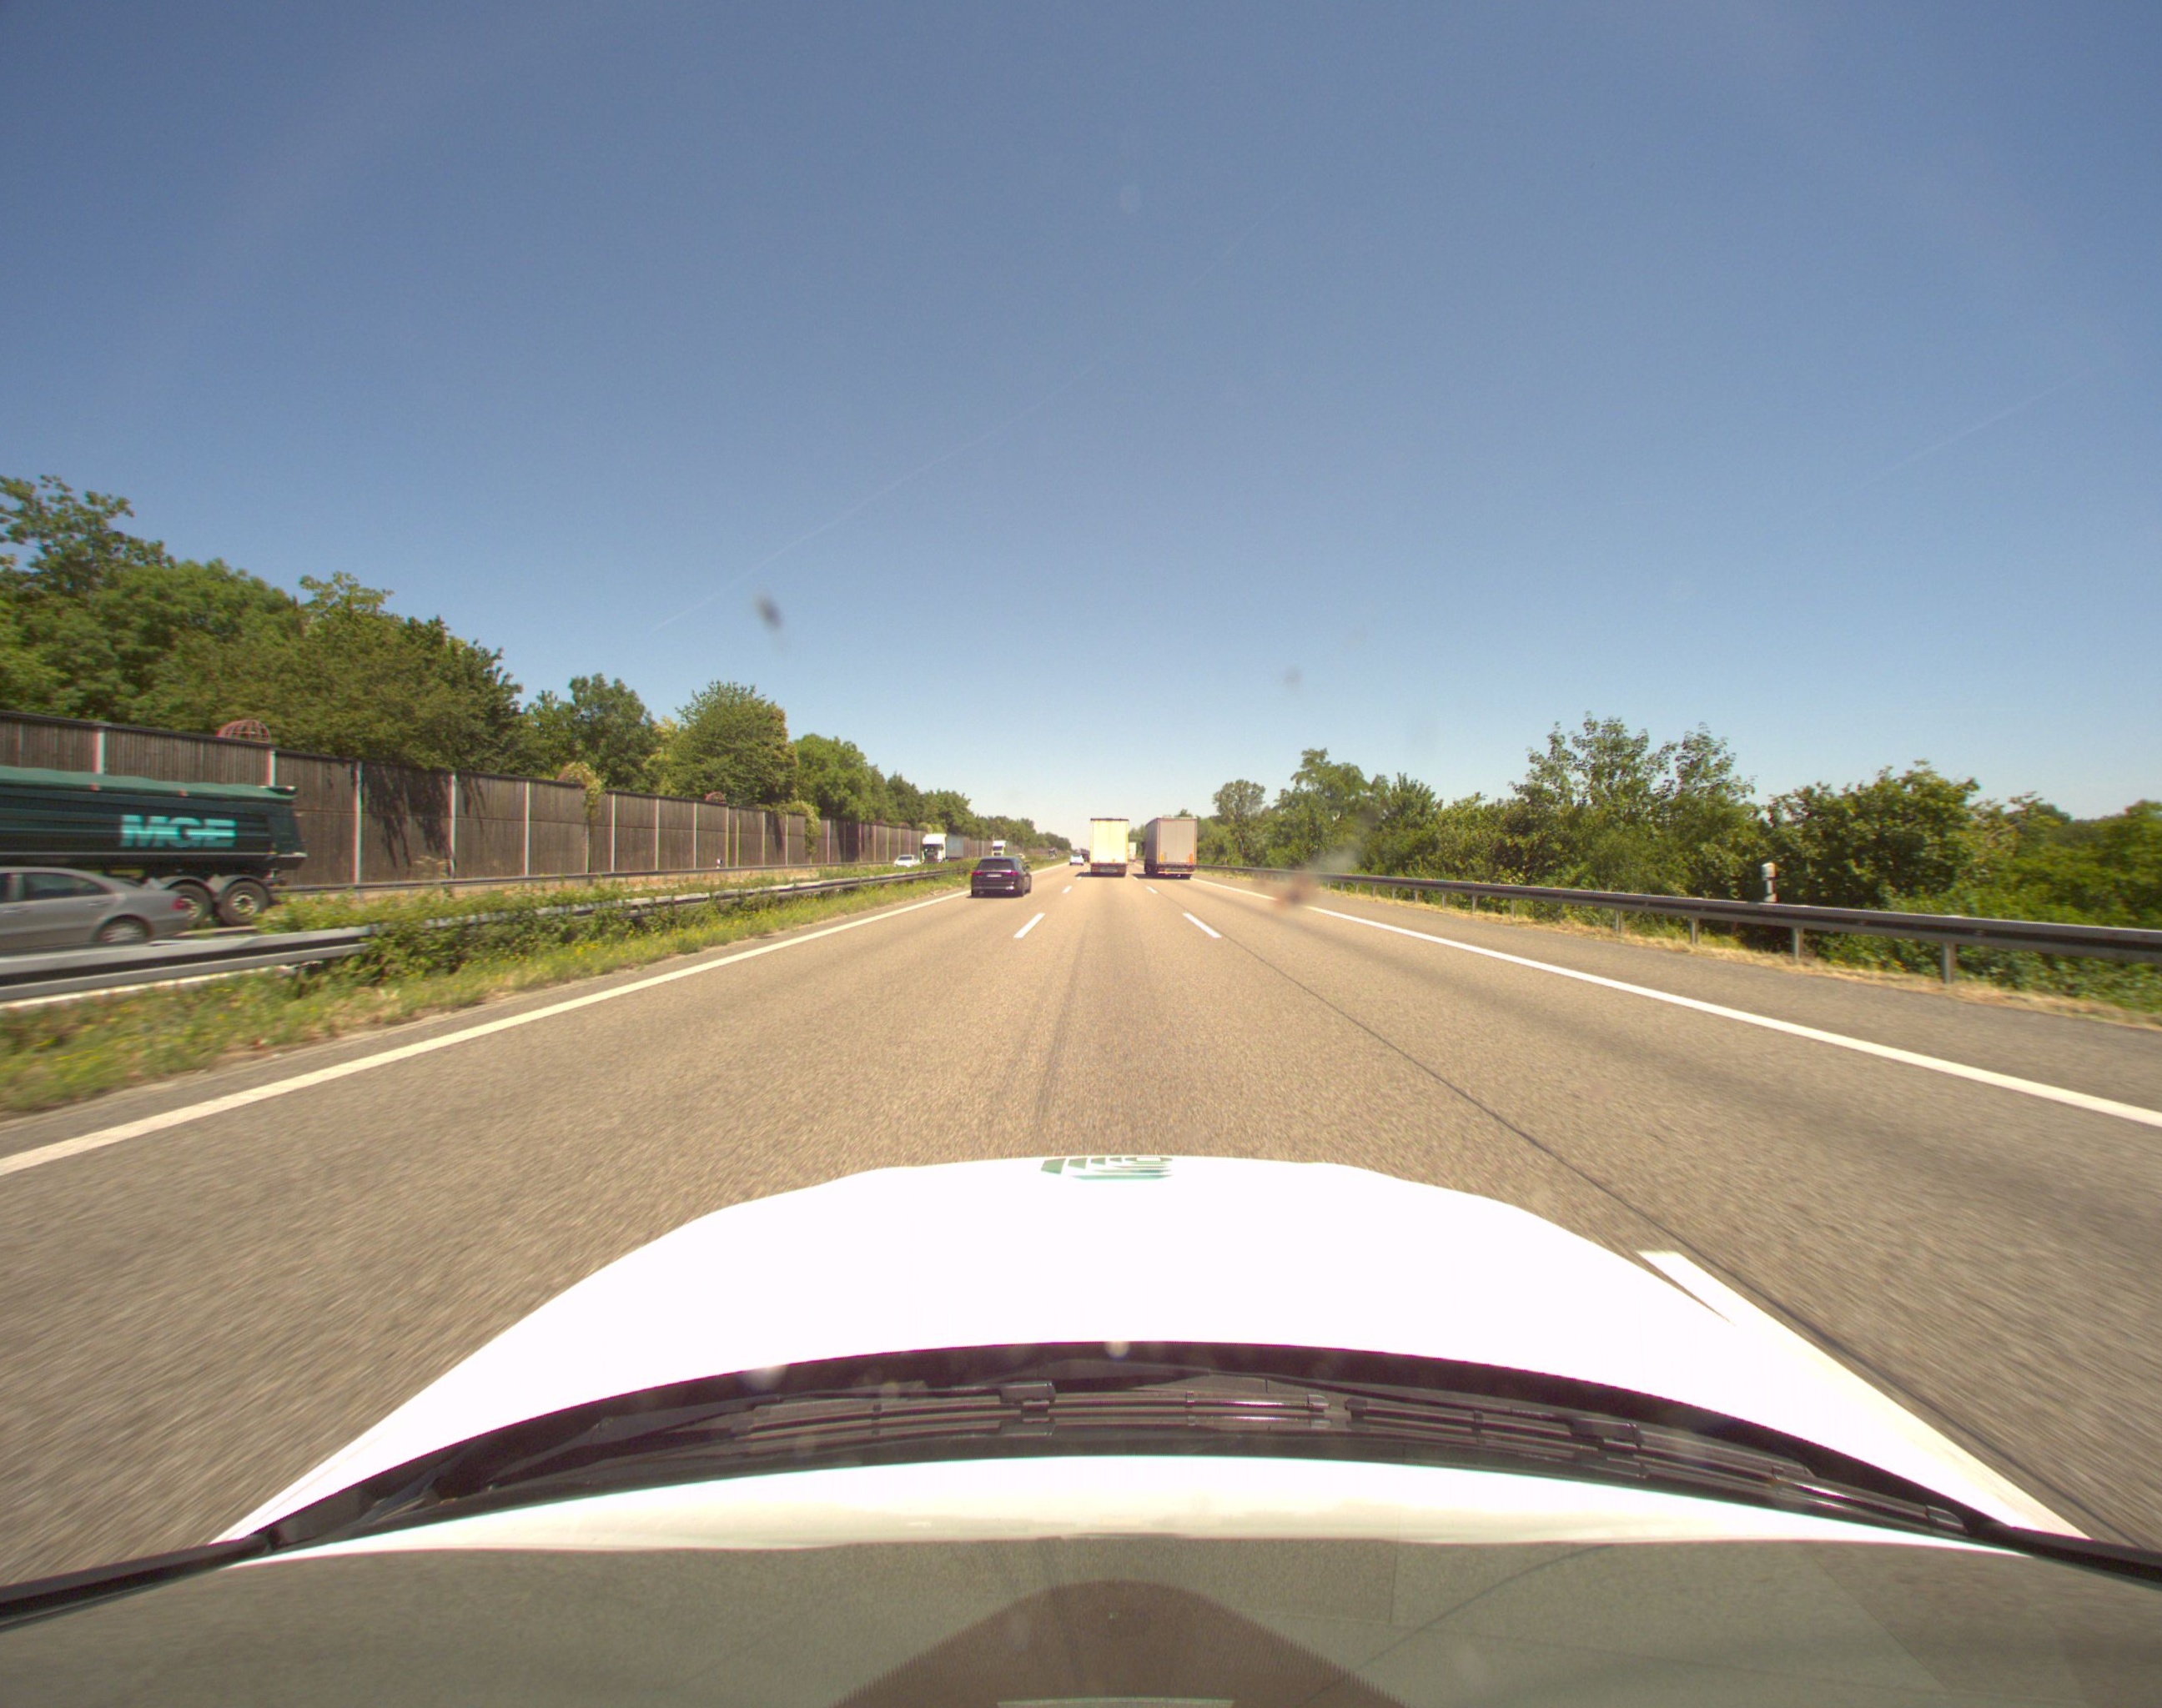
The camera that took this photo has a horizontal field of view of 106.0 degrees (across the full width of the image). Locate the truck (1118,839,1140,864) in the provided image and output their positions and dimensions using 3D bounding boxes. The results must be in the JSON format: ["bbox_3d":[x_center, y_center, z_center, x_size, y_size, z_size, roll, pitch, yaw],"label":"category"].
[{"bbox_3d":[8.704,-0.468,149.033,3.363,4.303,11.449,2,0,0],"label":"truck"}]

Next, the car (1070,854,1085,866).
[{"bbox_3d":[-0.470,0.802,109.517,1.848,1.486,4.001,-1,0,1],"label":"car"}]

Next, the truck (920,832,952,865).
[{"bbox_3d":[-18.240,-0.627,102.723,2.748,4.022,6.735,0,0,1],"label":"truck"}]

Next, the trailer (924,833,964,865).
[{"bbox_3d":[-18.141,-0.633,108.676,2.725,4.022,14.307,0,0,1],"label":"trailer"}]

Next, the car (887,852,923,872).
[{"bbox_3d":[-15.055,0.666,70.080,1.986,1.590,4.494,-1,0,2],"label":"car"}]

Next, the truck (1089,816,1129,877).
[{"bbox_3d":[1.999,-0.515,61.327,2.697,4.085,13.475,0,0,1],"label":"truck"}]

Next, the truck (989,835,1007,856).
[{"bbox_3d":[-16.785,-1.765,165.015,2.823,4.183,7.143,0,0,1],"label":"truck"}]

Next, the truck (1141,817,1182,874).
[{"bbox_3d":[6.343,-0.642,65.090,2.682,4.215,7.839,0,0,1],"label":"truck"}]

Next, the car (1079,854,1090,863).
[{"bbox_3d":[0.594,0.828,145.610,1.850,1.617,3.998,-1,0,-1],"label":"car"}]

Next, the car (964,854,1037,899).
[{"bbox_3d":[-2.954,0.781,31.052,1.936,1.506,5.824,-1,0,2],"label":"car"}]

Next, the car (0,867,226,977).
[{"bbox_3d":[-15.621,0.966,11.392,1.858,1.441,5.086,-1,0,1],"label":"car"}]

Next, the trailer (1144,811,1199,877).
[{"bbox_3d":[6.237,-0.623,58.354,2.694,4.215,13.213,0,0,1],"label":"trailer"}]

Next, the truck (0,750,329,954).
[{"bbox_3d":[-20.999,-0.017,14.763,3.079,3.675,12.370,-1,0,1],"label":"truck"}]
